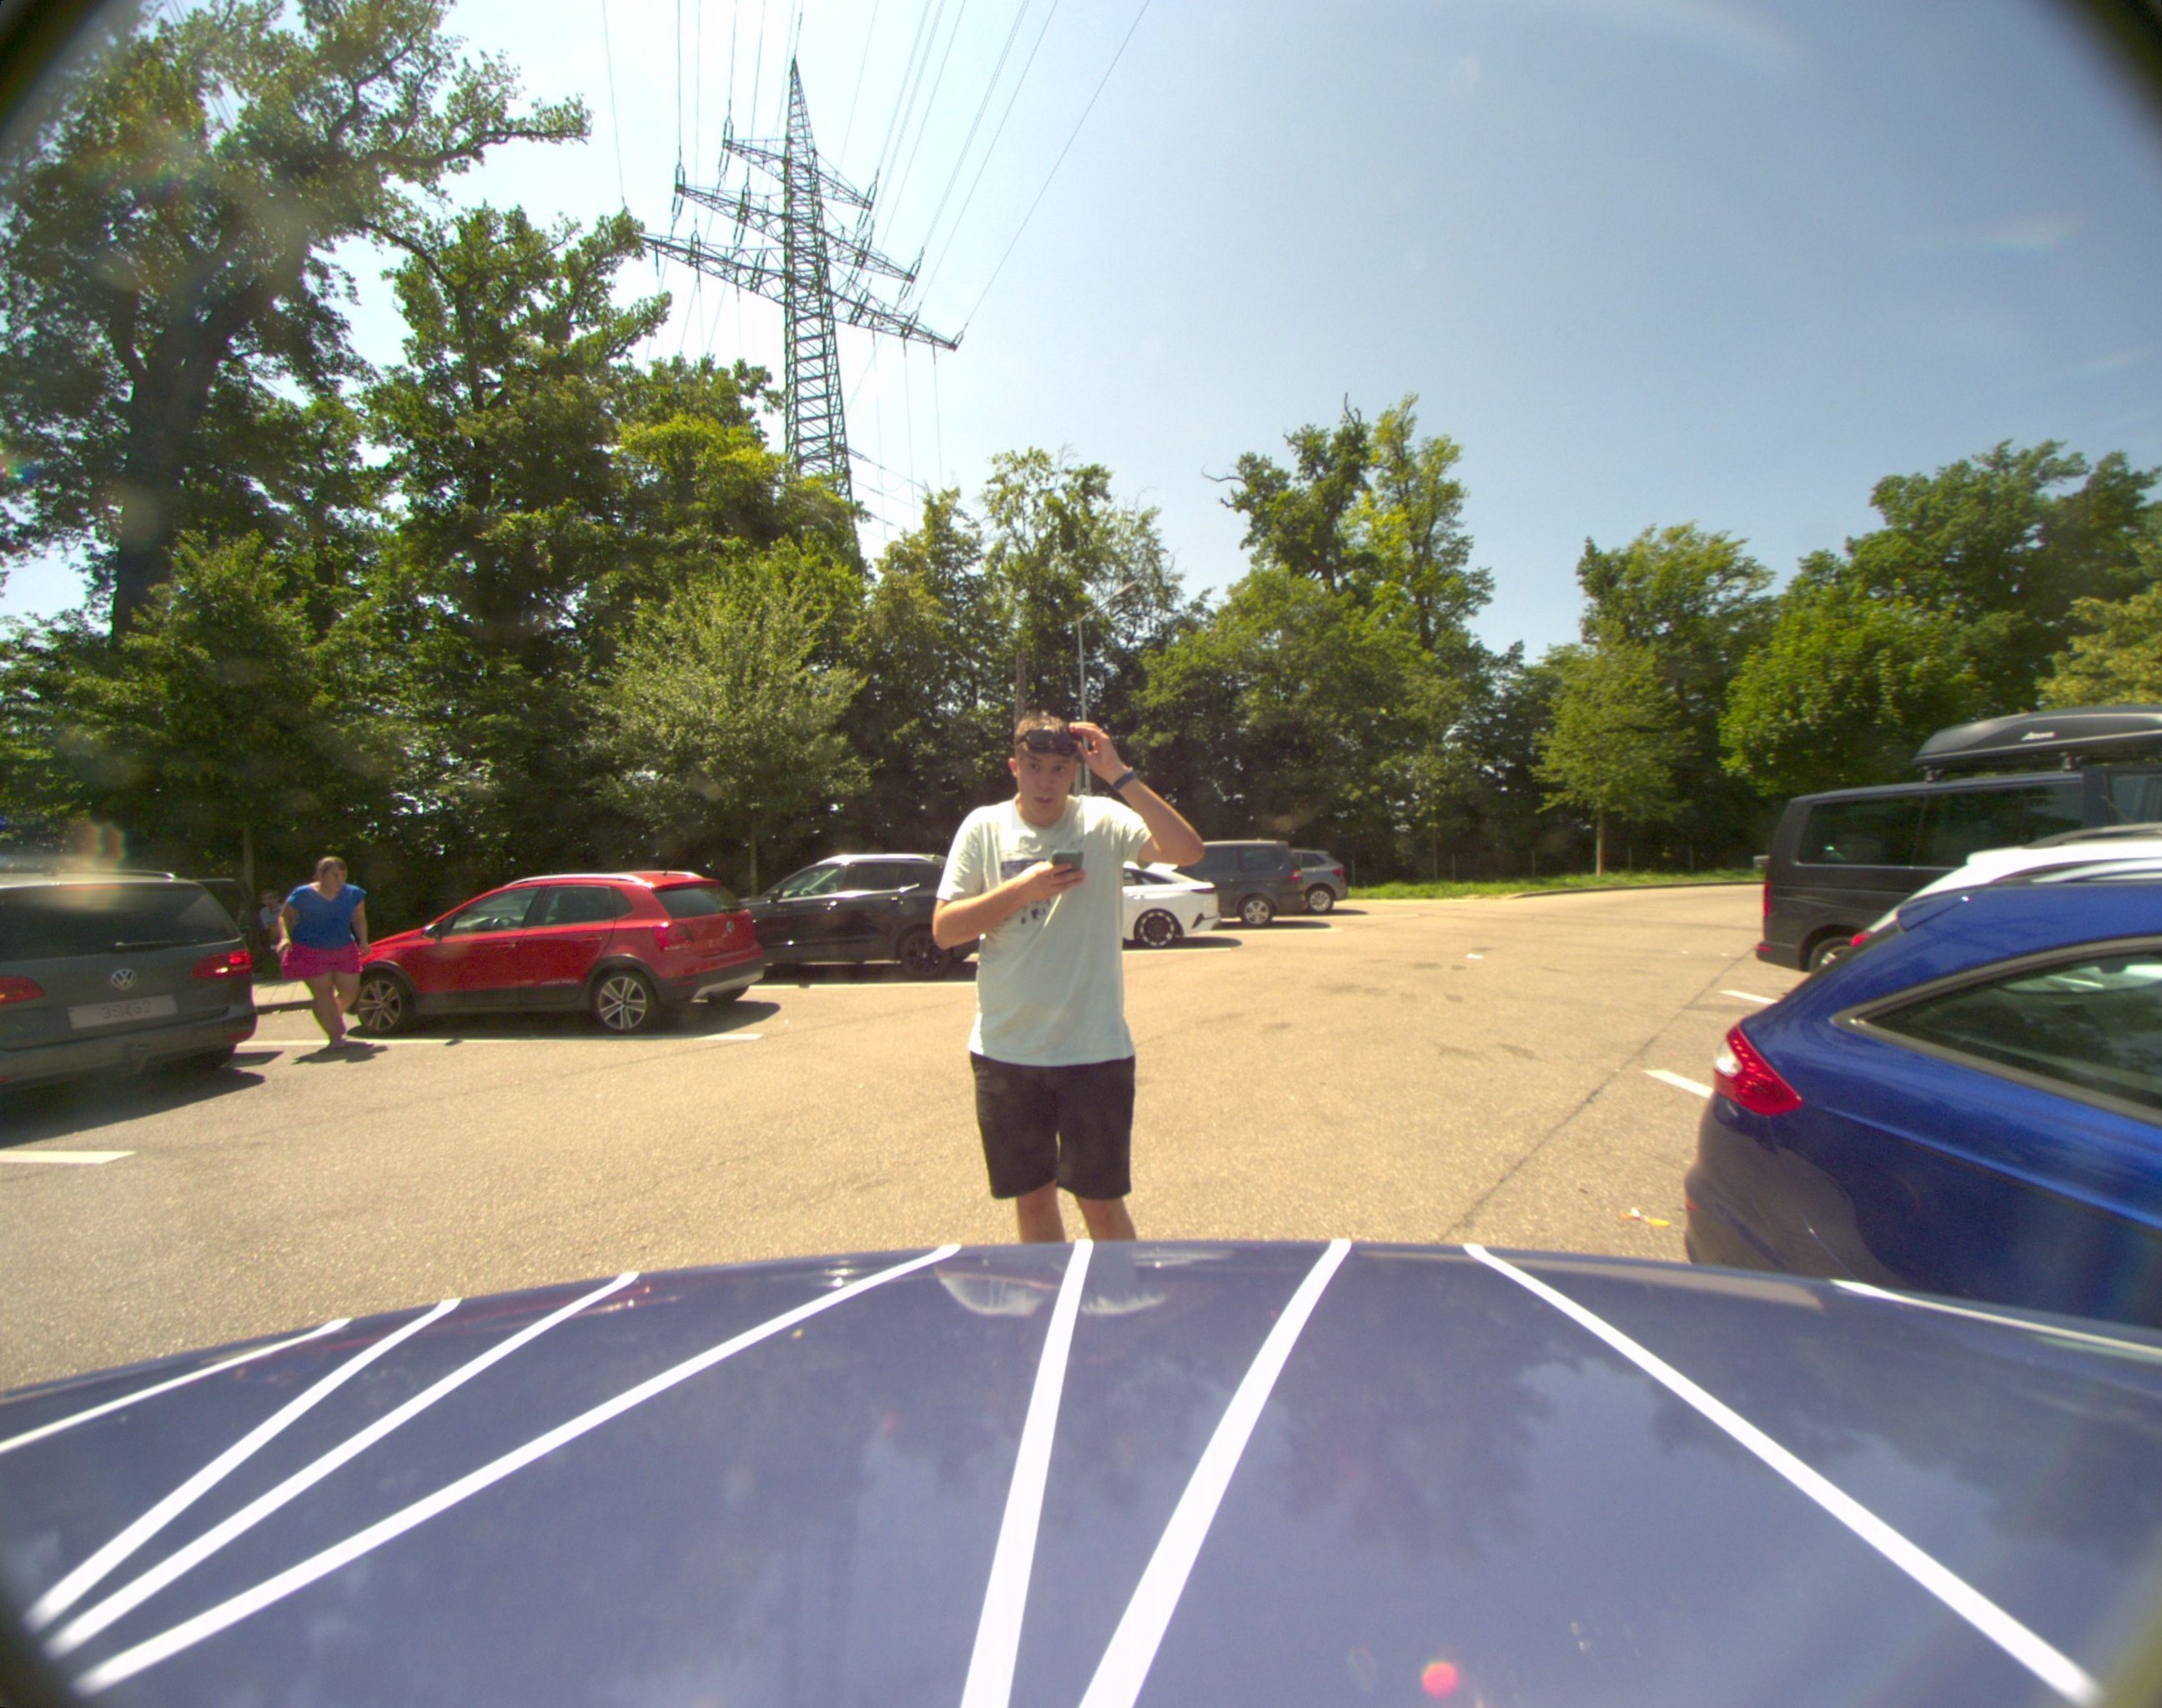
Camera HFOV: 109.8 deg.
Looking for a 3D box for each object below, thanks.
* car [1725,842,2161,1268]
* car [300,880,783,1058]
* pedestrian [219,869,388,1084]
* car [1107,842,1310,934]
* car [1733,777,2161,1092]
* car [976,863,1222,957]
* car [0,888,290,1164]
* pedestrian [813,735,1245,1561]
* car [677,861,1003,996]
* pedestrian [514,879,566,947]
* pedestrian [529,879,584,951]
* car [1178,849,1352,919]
[{"bbox_3d":[4.859,0.724,2.292,1.741,1.524,4.642,-3,-1,-2],"label":"car"},{"bbox_3d":[-5.253,1.066,7.659,3.785,1.457,1.722,-1,1,9],"label":"car"},{"bbox_3d":[-6.714,0.989,6.611,0.921,1.672,0.732,-3,2,-44],"label":"pedestrian"},{"bbox_3d":[2.574,0.665,15.461,3.818,1.714,1.722,-1,1,12],"label":"car"},{"bbox_3d":[7.307,0.436,4.921,1.961,1.858,4.642,-3,-1,-3],"label":"car"},{"bbox_3d":[0.351,0.898,12.735,3.819,1.377,1.722,-1,1,6],"label":"car"},{"bbox_3d":[-8.305,1.107,5.450,3.985,1.572,1.749,-1,1,12],"label":"car"},{"bbox_3d":[-0.099,0.669,1.997,0.890,1.831,0.622,-2,1,3],"label":"pedestrian"},{"bbox_3d":[-3.080,0.936,10.270,3.787,1.564,1.721,-1,1,2],"label":"car"},{"bbox_3d":[-10.917,1.164,15.320,0.782,1.287,0.670,-1,2,45],"label":"pedestrian"},{"bbox_3d":[-10.022,1.138,14.518,0.782,1.287,0.670,-1,2,45],"label":"pedestrian"},{"bbox_3d":[4.326,0.688,18.163,3.818,1.530,1.722,-1,1,12],"label":"car"}]
